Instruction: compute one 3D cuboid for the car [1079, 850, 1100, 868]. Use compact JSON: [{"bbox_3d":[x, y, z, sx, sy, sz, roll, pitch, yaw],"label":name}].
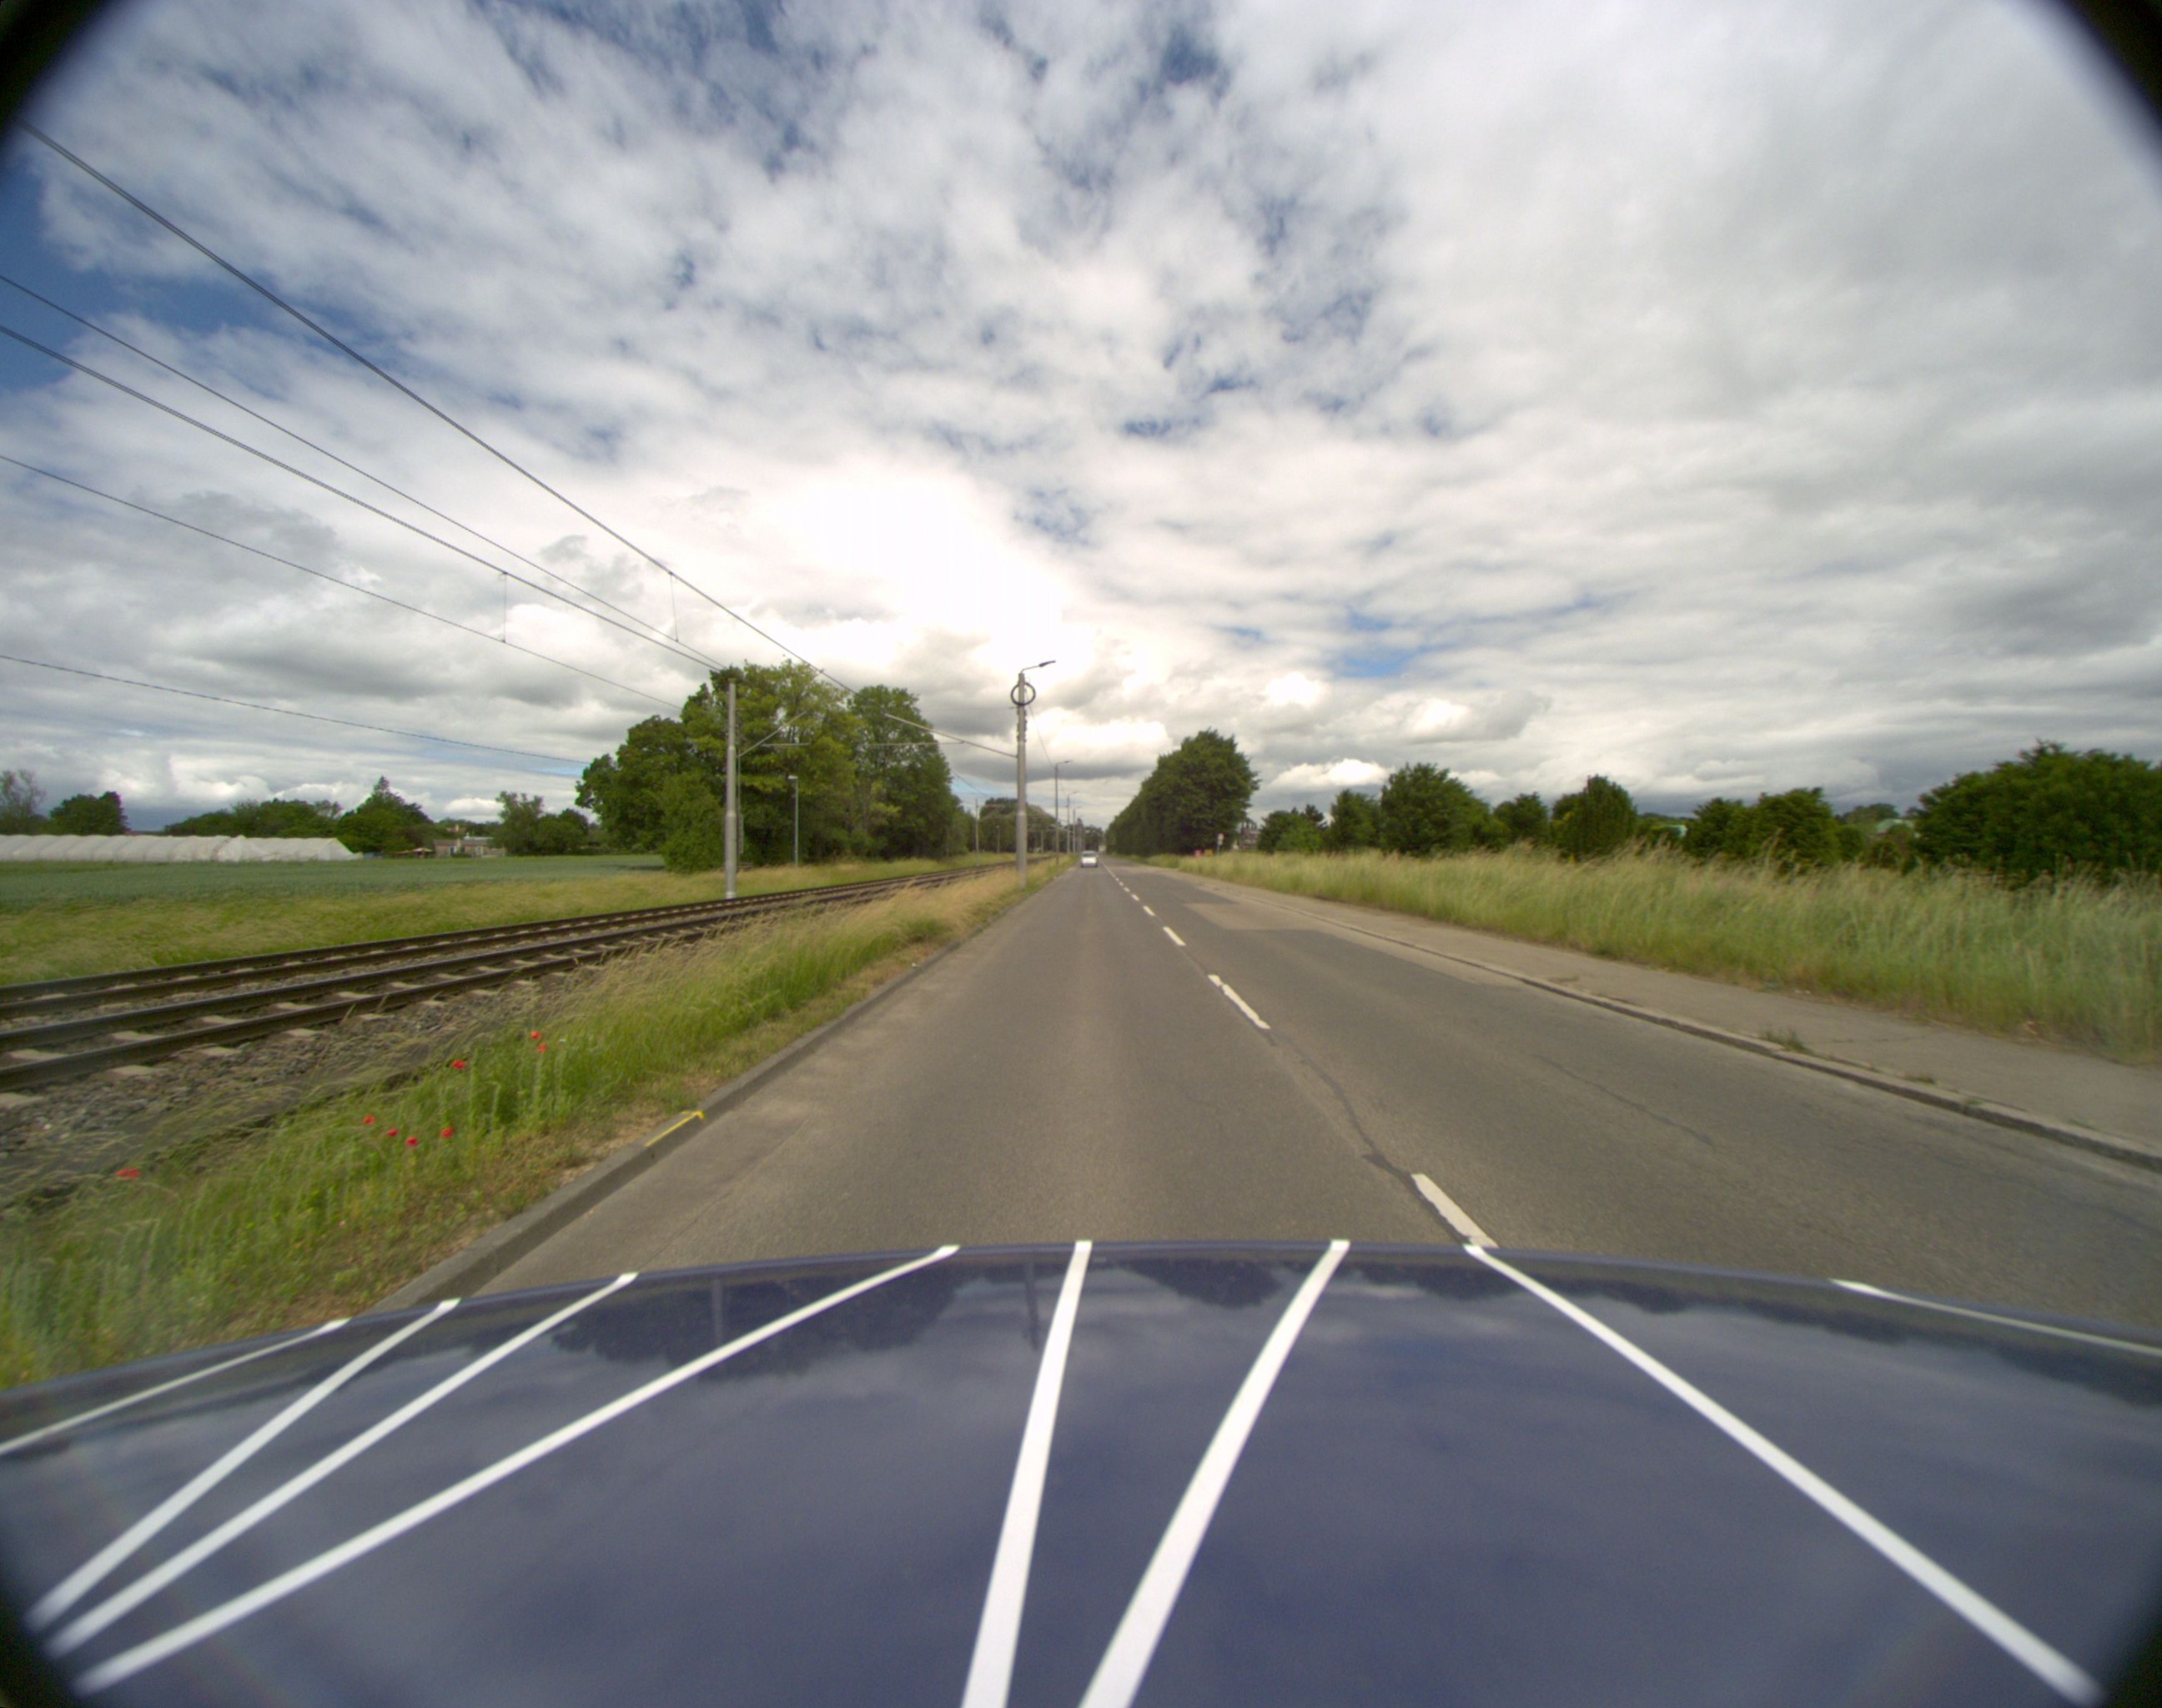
[{"bbox_3d":[0.883,0.483,77.909,1.998,1.679,3.999,-3,1,0],"label":"car"}]
